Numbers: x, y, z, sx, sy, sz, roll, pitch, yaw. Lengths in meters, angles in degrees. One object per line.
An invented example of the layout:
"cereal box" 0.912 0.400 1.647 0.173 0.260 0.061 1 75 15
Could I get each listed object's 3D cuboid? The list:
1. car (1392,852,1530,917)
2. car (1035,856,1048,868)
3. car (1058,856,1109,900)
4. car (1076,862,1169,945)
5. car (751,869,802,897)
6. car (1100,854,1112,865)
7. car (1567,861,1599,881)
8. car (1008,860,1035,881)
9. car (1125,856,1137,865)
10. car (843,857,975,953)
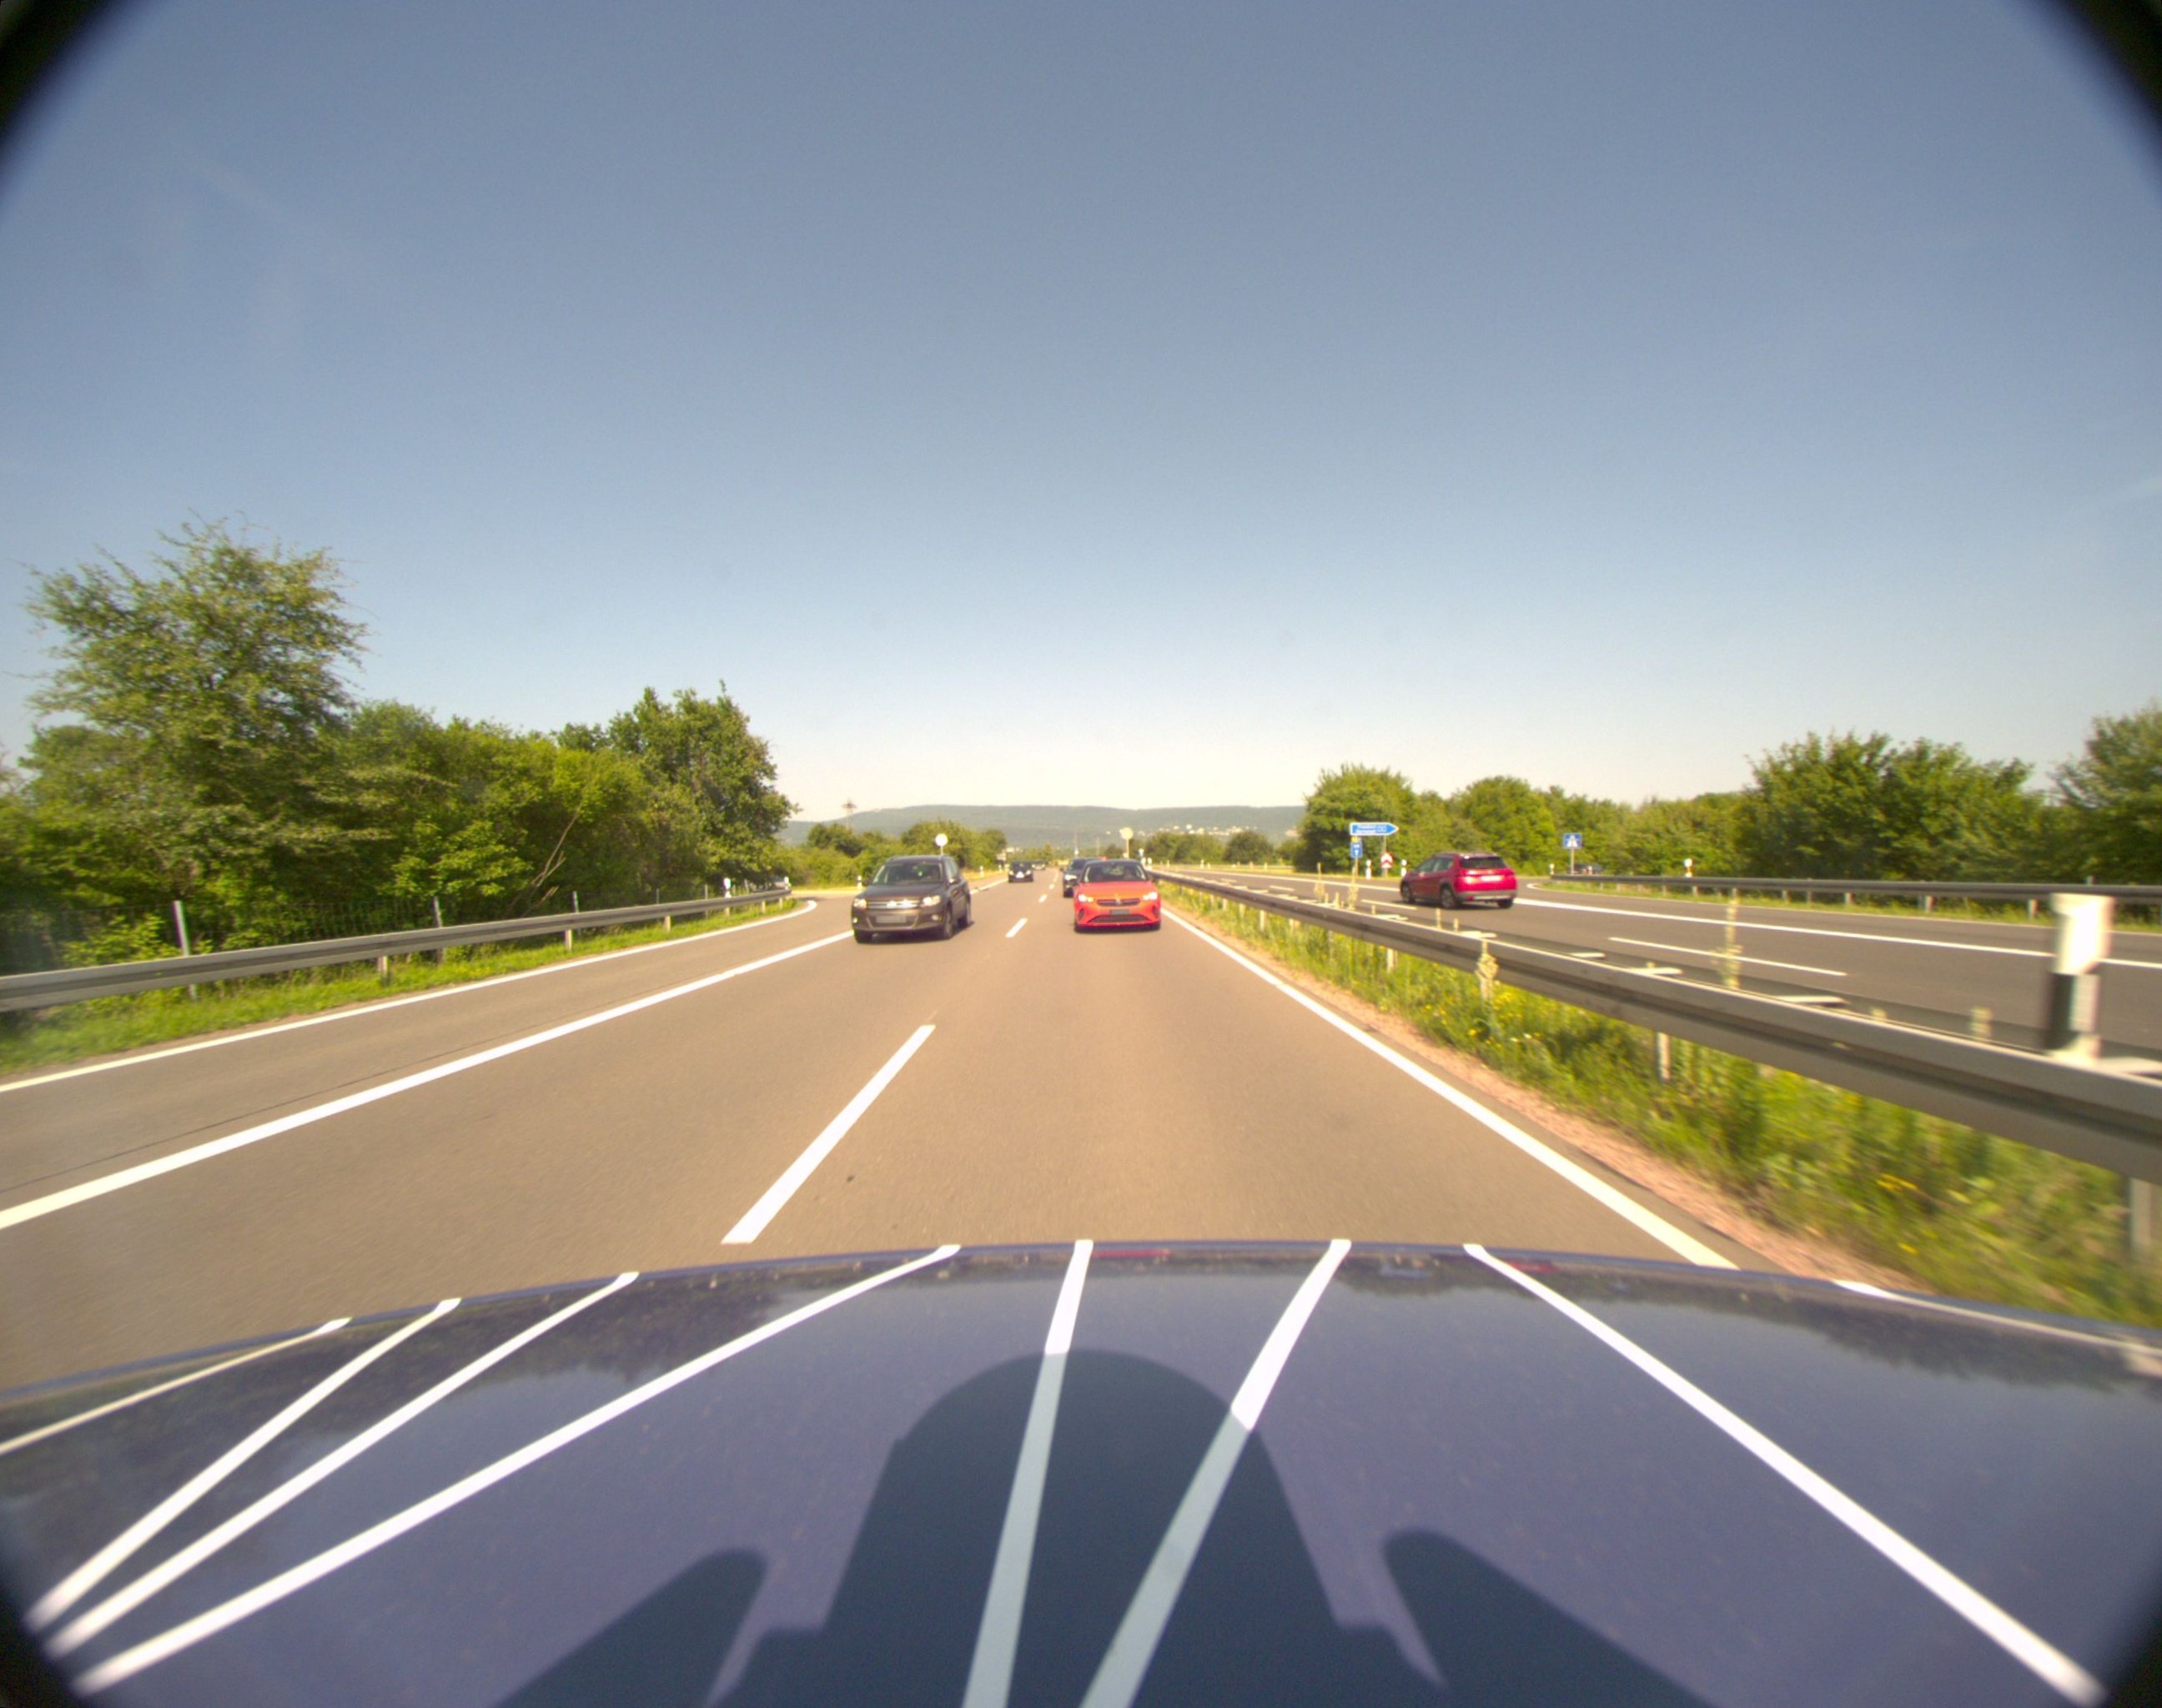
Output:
"car" 10.484 0.762 21.364 1.646 1.565 4.263 -3 0 -1
"car" -5.757 1.111 110.455 1.768 1.652 3.998 -3 1 -3
"car" 0.116 0.871 29.714 1.788 1.524 4.375 -2 0 0
"car" 0.825 0.956 16.484 1.713 1.429 4.412 -2 0 1
"car" -21.813 2.072 54.382 3.987 1.657 1.869 2 5 45
"car" 5.647 1.225 173.537 2.120 2.361 5.880 -3 1 -2
"car" 41.032 1.435 62.112 1.592 1.485 4.825 4 1 40
"car" -3.934 1.091 50.694 1.601 1.241 3.998 -3 0 -3
"car" 8.271 1.037 126.663 1.633 1.449 3.768 -1 -1 -1
"car" -3.398 0.929 15.839 1.790 1.637 4.147 -2 0 -1
